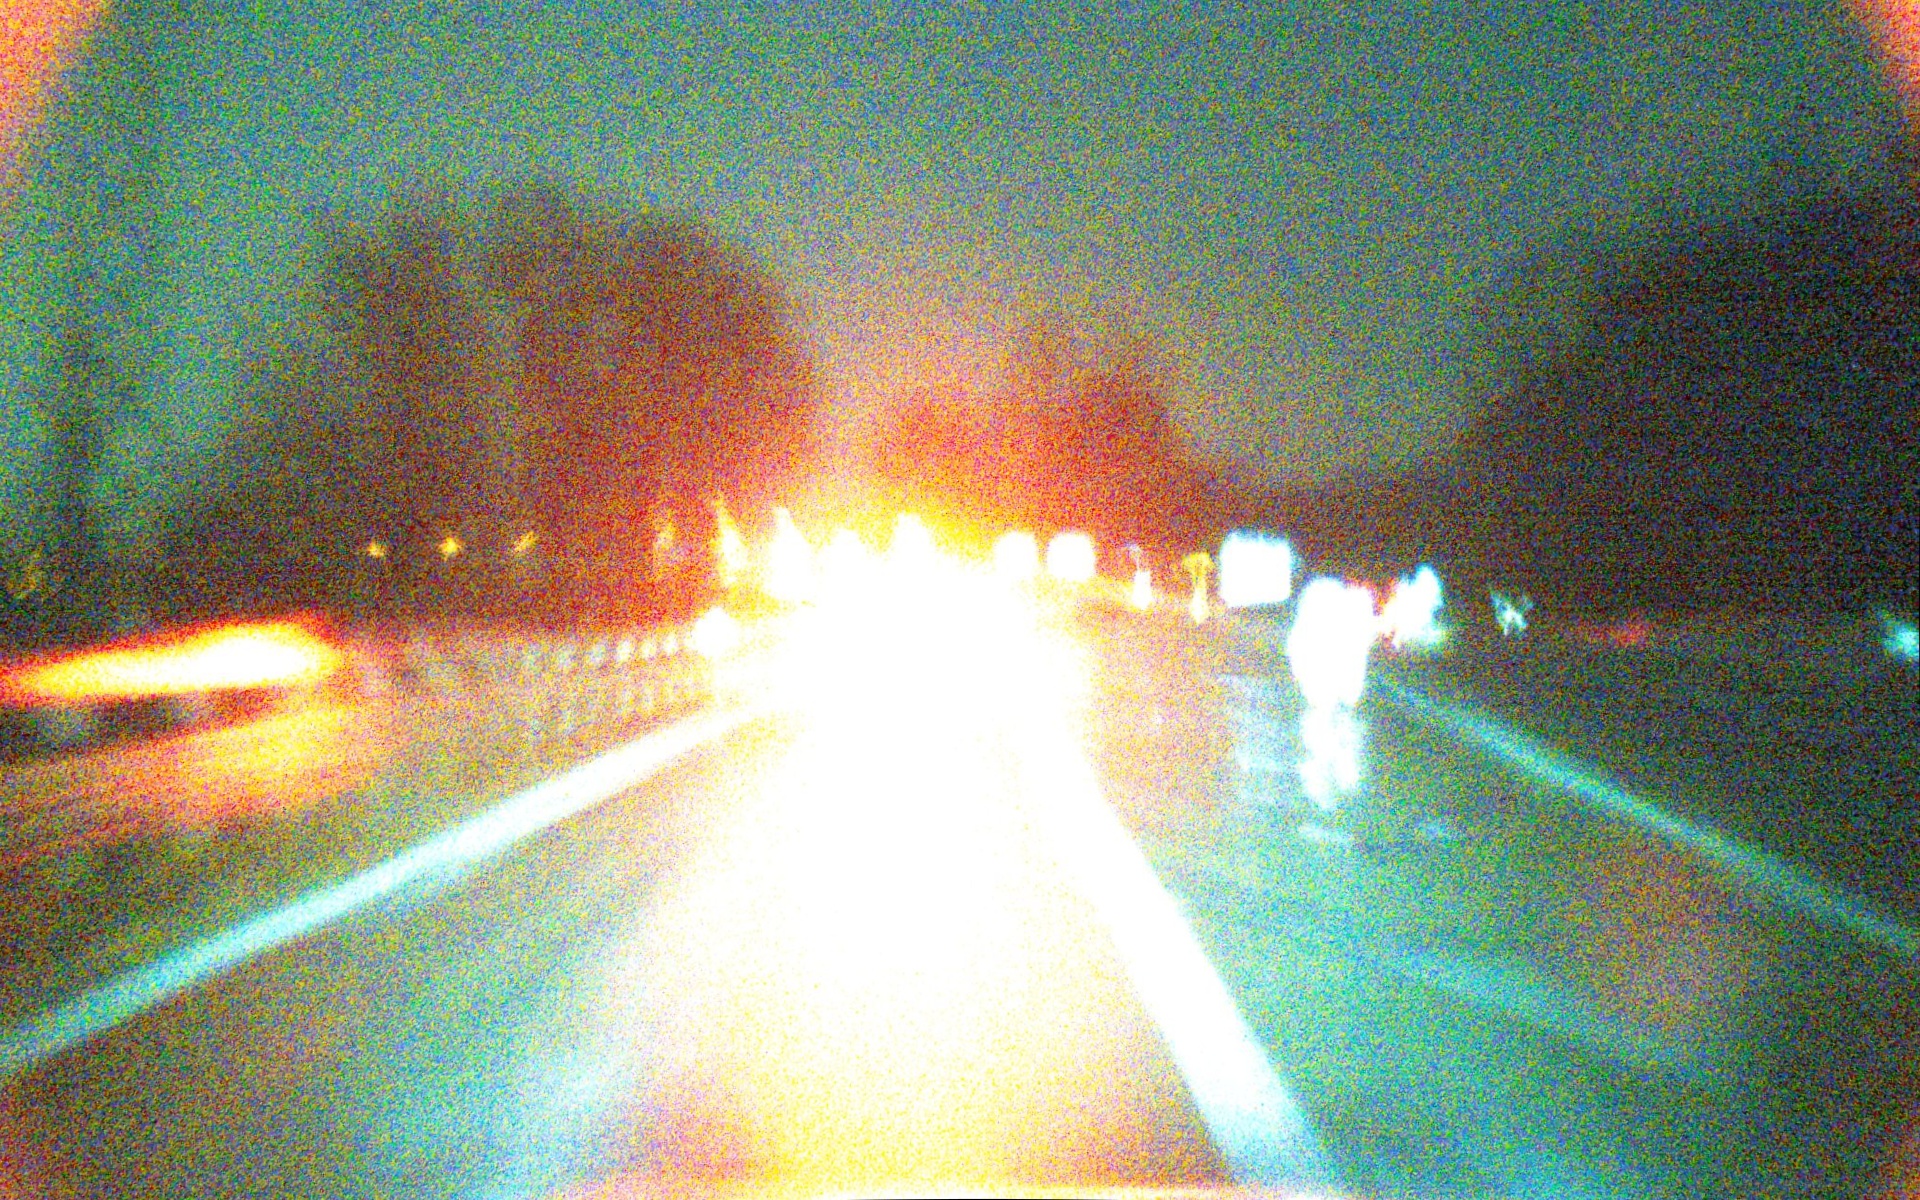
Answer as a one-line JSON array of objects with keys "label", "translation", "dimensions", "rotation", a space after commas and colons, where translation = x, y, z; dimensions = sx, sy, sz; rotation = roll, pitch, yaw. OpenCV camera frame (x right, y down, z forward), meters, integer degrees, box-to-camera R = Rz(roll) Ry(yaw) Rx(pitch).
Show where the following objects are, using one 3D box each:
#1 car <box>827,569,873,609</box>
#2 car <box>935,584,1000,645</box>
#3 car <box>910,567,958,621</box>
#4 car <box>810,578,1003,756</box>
[{"label": "car", "translation": [-5.800, -0.553, 86.796], "dimensions": [1.862, 2.033, 4.032], "rotation": [0, 0, -13]}, {"label": "car", "translation": [0.182, 0.439, 49.521], "dimensions": [1.857, 1.751, 4.044], "rotation": [0, -1, -1]}, {"label": "car", "translation": [-1.041, -0.198, 66.126], "dimensions": [1.857, 2.076, 4.044], "rotation": [0, -1, -1]}, {"label": "car", "translation": [-0.552, 0.632, 17.680], "dimensions": [1.823, 1.676, 4.067], "rotation": [0, 0, -1]}]
